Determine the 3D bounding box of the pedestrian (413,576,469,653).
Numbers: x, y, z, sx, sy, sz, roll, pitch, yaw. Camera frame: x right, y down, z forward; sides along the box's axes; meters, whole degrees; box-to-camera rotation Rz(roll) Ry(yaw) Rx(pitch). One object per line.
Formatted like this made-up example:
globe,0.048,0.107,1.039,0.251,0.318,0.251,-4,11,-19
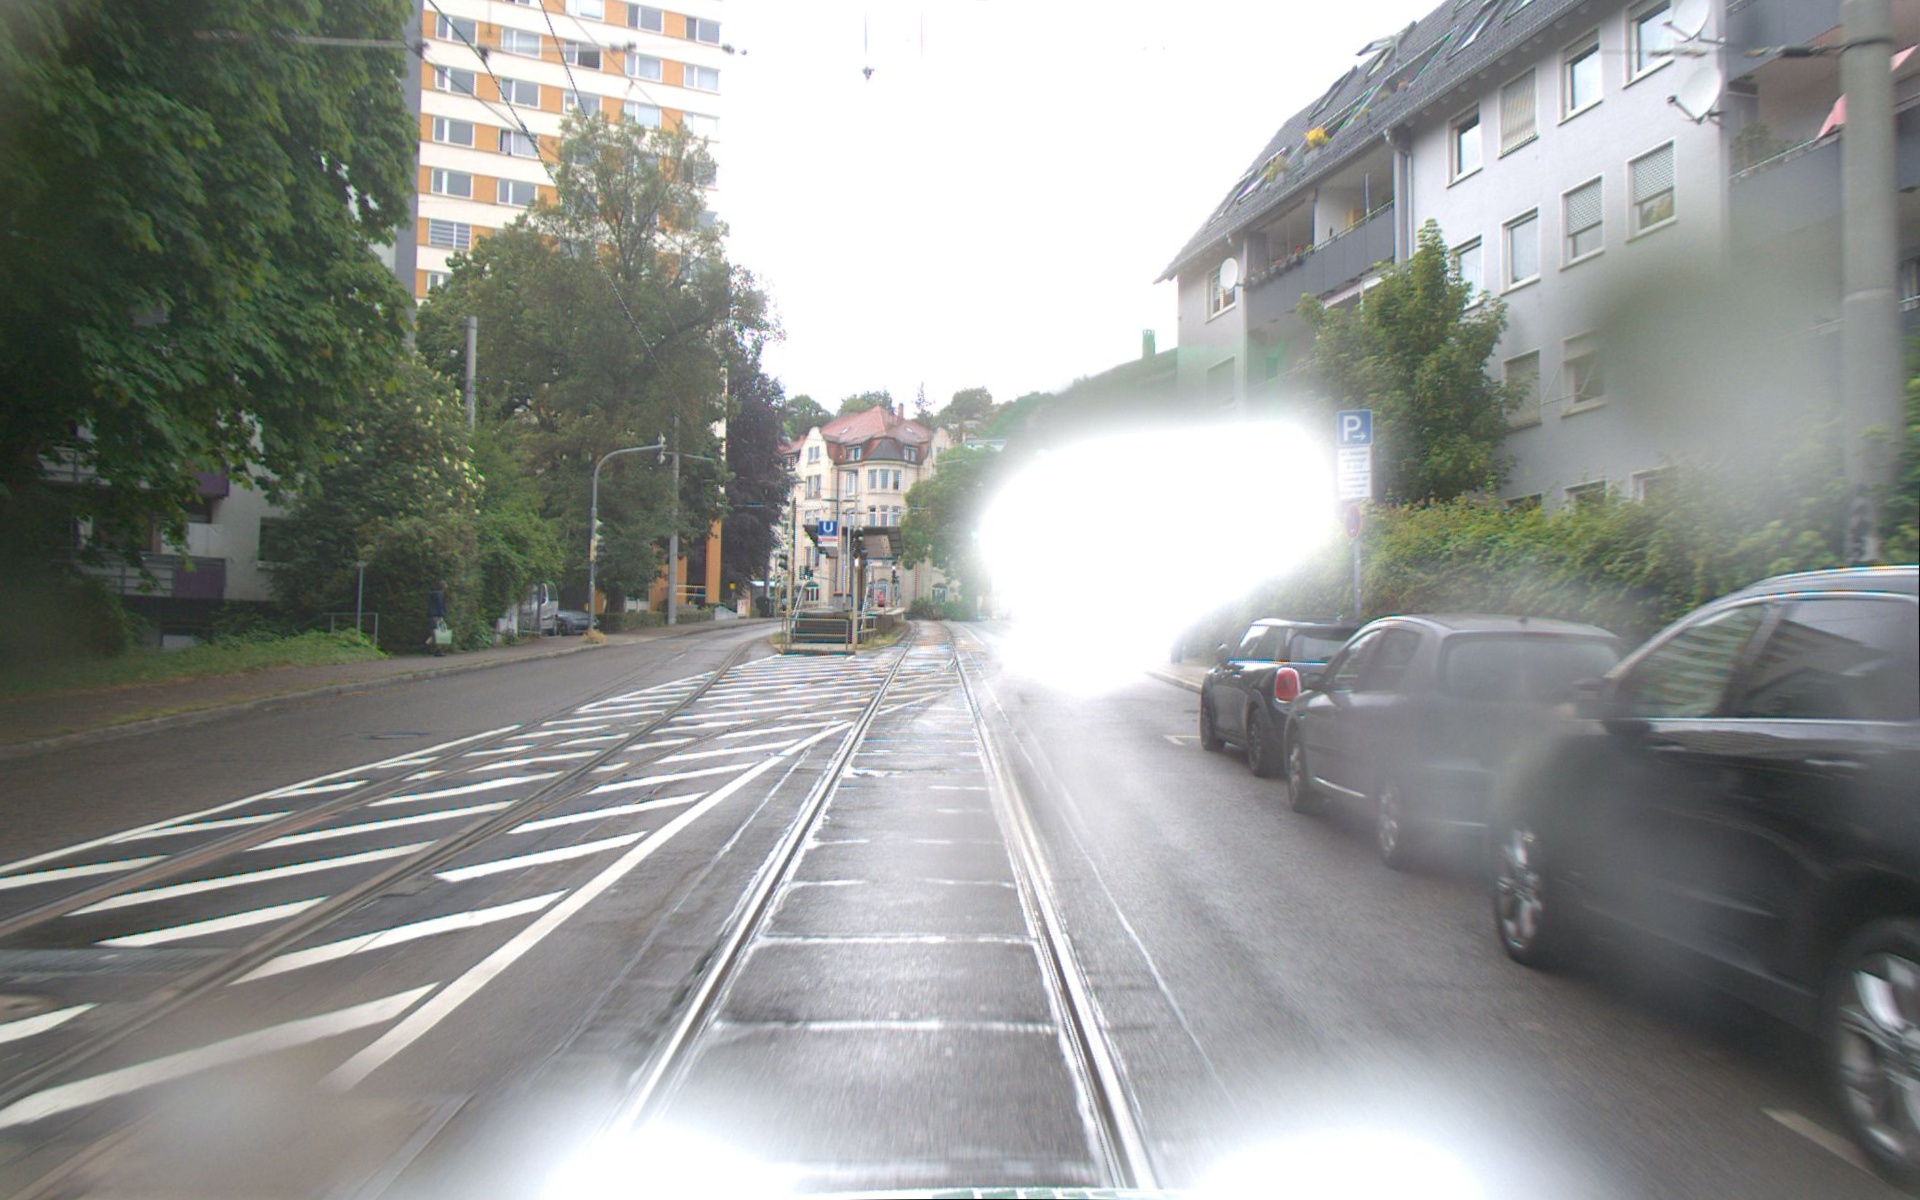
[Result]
pedestrian,-11.825,0.341,37.716,0.724,1.707,0.917,-1,-5,26

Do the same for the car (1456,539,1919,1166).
car,3.469,0.716,5.839,1.868,1.670,4.687,2,-1,-2

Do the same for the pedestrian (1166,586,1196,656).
pedestrian,5.268,0.511,39.476,0.631,1.657,0.699,1,-2,2

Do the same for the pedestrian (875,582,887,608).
pedestrian,-4.809,-0.290,100.704,0.644,1.492,0.772,1,-4,2

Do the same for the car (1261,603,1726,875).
car,3.361,0.793,11.333,1.670,1.453,4.248,2,-1,-2

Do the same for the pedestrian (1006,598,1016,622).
pedestrian,3.354,0.656,108.937,0.567,1.492,0.543,2,-4,-9

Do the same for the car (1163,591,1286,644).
car,9.129,0.622,57.180,3.907,1.674,1.806,2,-3,-3

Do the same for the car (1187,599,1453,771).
car,3.440,0.765,16.496,1.670,1.451,3.861,2,-1,-2

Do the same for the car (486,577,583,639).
car,-13.847,0.291,54.027,1.952,1.714,4.000,1,-4,2

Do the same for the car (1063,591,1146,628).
car,7.174,0.492,82.529,3.906,1.674,1.807,2,-3,-2

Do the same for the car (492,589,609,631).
car,-15.119,0.367,61.085,3.905,1.431,1.682,0,-4,22

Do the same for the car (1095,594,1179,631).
car,8.416,0.605,78.839,3.765,1.570,1.806,2,-3,-3
